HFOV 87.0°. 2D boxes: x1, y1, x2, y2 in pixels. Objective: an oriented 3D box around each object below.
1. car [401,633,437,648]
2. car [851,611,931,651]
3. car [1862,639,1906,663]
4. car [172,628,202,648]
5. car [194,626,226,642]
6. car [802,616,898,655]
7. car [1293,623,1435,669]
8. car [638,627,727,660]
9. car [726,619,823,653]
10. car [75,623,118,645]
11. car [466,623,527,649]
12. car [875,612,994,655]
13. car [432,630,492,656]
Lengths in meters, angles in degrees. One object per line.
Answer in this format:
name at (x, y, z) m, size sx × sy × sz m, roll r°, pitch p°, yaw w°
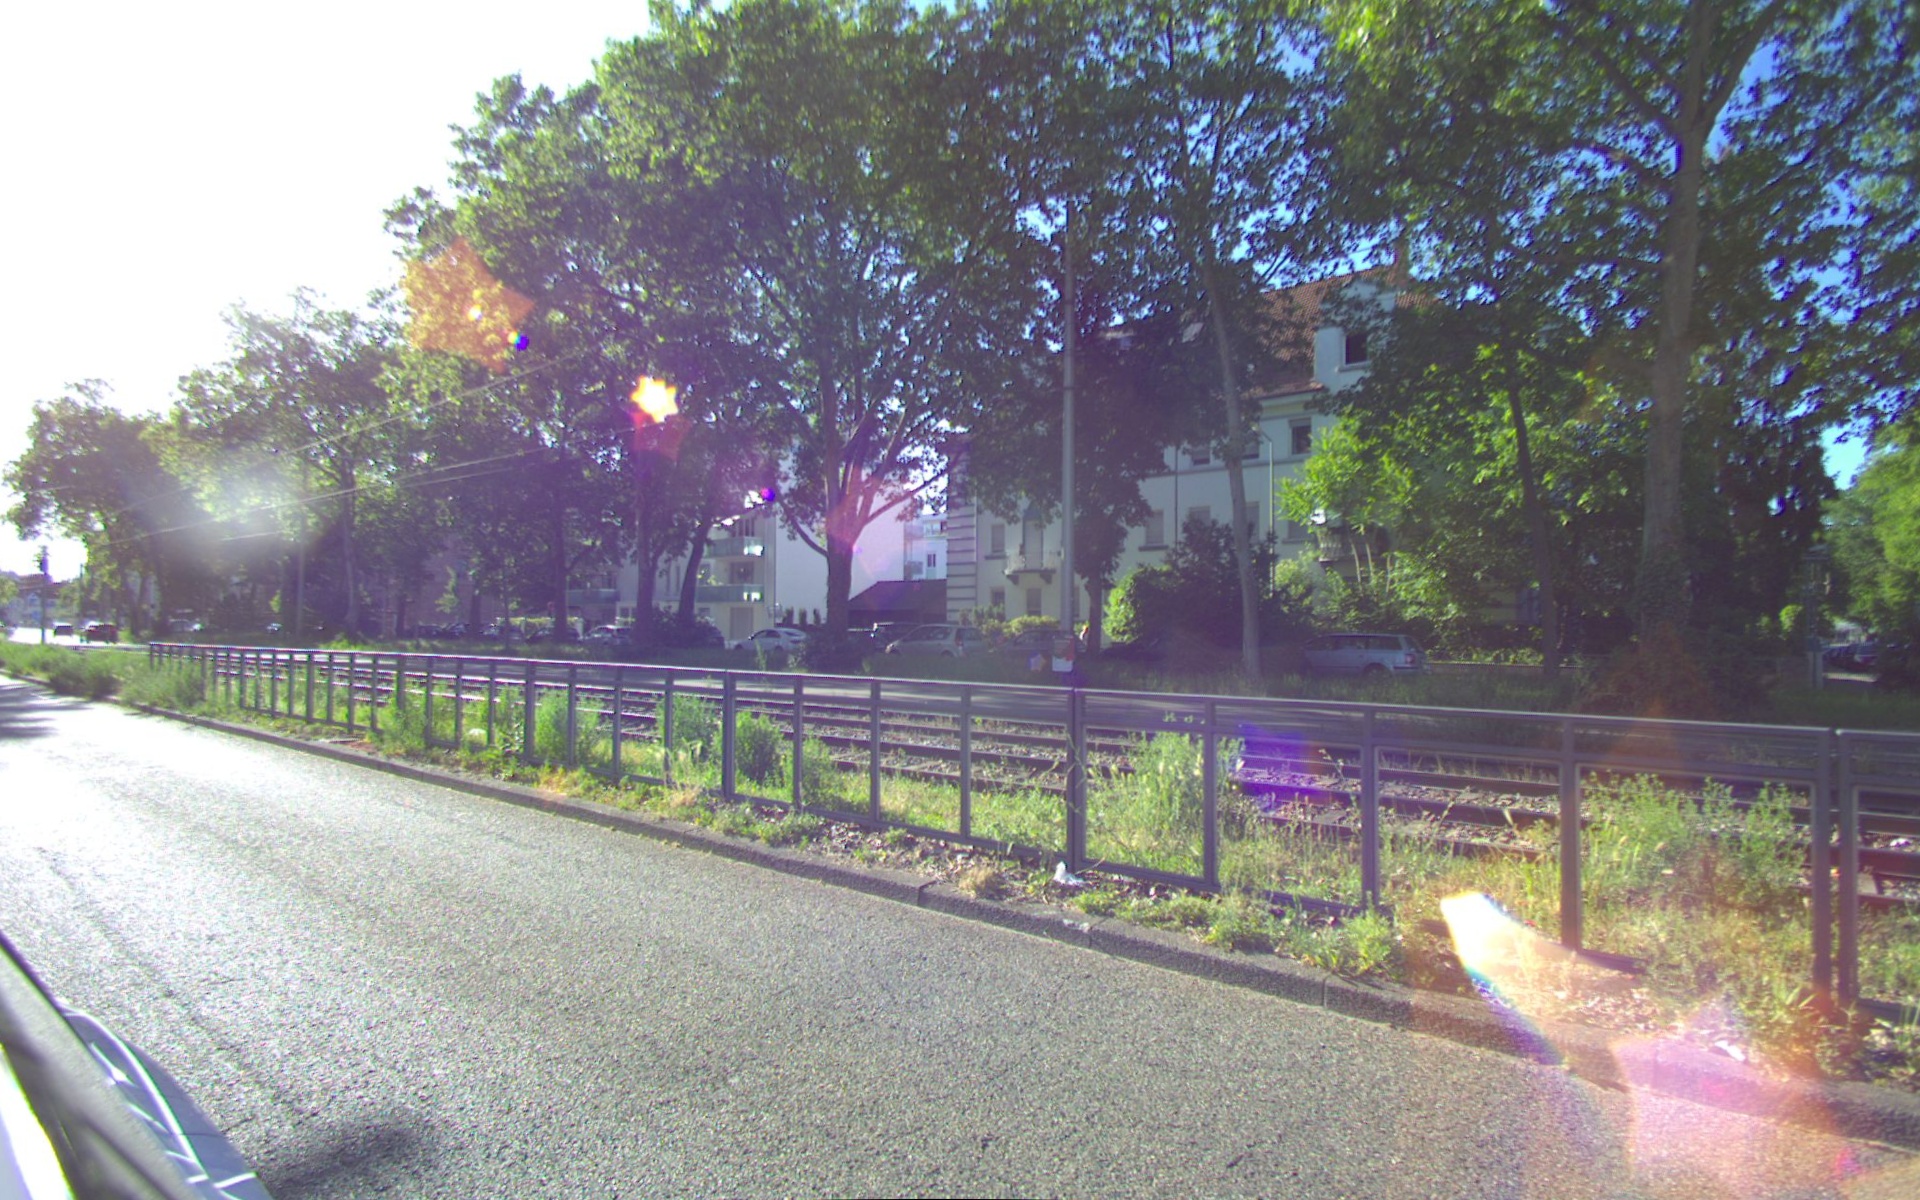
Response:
car at (-35.204, 2.621, 65.823) m, size 3.058 × 0.883 × 1.094 m, roll -1°, pitch -2°, yaw 41°
car at (-3.450, 1.537, 50.376) m, size 3.818 × 1.874 × 1.830 m, roll -2°, pitch -2°, yaw 40°
car at (46.367, 2.561, 50.806) m, size 1.531 × 1.127 × 3.083 m, roll -1°, pitch -2°, yaw 41°
car at (-79.431, 3.882, 103.961) m, size 1.970 × 2.029 × 4.002 m, roll 1°, pitch -2°, yaw -45°
car at (-72.411, 3.279, 97.740) m, size 3.687 × 1.497 × 1.748 m, roll -1°, pitch -2°, yaw 41°
car at (-4.352, 1.381, 39.865) m, size 3.696 × 1.476 × 1.756 m, roll -1°, pitch -2°, yaw 41°
car at (10.678, 1.186, 26.819) m, size 3.213 × 1.125 × 1.458 m, roll -1°, pitch -2°, yaw 38°
car at (-12.968, 1.989, 47.194) m, size 4.317 × 1.464 × 1.972 m, roll -1°, pitch -2°, yaw 41°
car at (-7.912, 1.518, 42.862) m, size 4.459 × 1.334 × 1.623 m, roll -1°, pitch -4°, yaw 42°
car at (-68.778, 2.693, 80.611) m, size 4.456 × 1.660 × 1.839 m, roll -1°, pitch -2°, yaw 40°
car at (-27.396, 2.127, 59.753) m, size 3.998 × 1.484 × 1.778 m, roll -1°, pitch -2°, yaw 41°
car at (-0.971, 1.195, 36.792) m, size 4.317 × 1.451 × 1.717 m, roll -1°, pitch -2°, yaw 42°
car at (-30.946, 2.640, 62.808) m, size 3.998 × 1.497 × 1.972 m, roll -1°, pitch -2°, yaw 41°
